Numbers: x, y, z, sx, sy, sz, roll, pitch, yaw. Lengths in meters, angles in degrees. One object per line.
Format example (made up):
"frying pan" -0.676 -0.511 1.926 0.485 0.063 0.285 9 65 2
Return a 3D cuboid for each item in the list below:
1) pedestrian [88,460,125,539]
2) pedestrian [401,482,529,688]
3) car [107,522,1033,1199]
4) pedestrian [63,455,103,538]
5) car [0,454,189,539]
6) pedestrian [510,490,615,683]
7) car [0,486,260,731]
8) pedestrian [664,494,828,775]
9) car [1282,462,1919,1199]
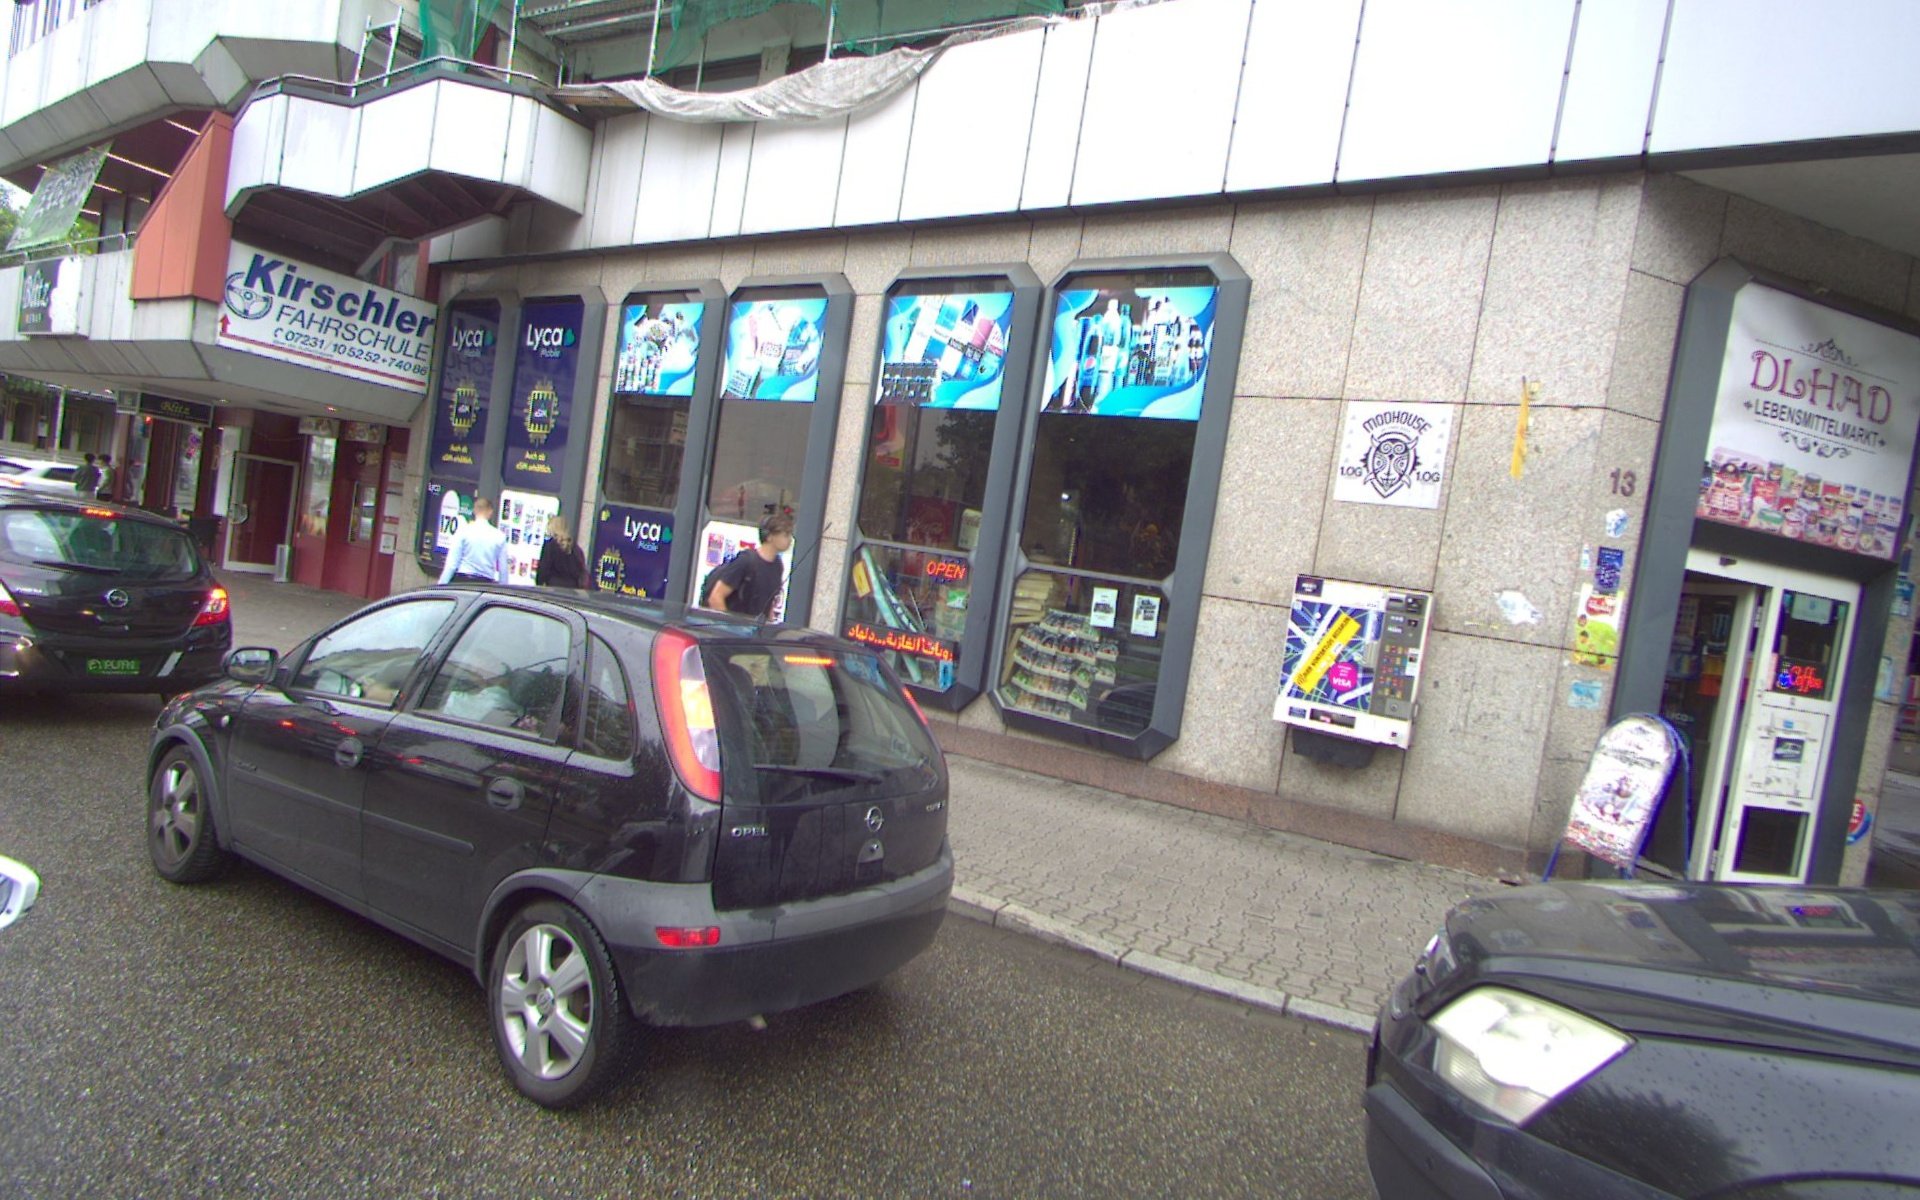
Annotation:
"pedestrian" -18.667 -2.199 22.002 0.496 1.660 0.396 6 1 32
"pedestrian" -4.969 -0.141 10.126 0.629 1.957 0.737 6 -1 31
"car" -1.726 0.653 4.100 3.563 1.446 1.609 8 -1 33
"pedestrian" -18.636 -2.200 21.371 0.443 1.704 0.426 6 1 30
"car" -23.132 -2.709 26.422 1.607 1.503 4.310 9 -1 18
"pedestrian" -4.243 -0.148 10.739 0.629 1.961 0.736 6 4 31
"car" -7.087 -0.110 7.347 3.776 1.446 1.620 8 -1 29
"pedestrian" -1.515 0.215 7.094 0.763 1.841 0.739 7 4 43
"car" 2.805 0.951 1.441 4.095 1.786 1.763 8 -1 33
